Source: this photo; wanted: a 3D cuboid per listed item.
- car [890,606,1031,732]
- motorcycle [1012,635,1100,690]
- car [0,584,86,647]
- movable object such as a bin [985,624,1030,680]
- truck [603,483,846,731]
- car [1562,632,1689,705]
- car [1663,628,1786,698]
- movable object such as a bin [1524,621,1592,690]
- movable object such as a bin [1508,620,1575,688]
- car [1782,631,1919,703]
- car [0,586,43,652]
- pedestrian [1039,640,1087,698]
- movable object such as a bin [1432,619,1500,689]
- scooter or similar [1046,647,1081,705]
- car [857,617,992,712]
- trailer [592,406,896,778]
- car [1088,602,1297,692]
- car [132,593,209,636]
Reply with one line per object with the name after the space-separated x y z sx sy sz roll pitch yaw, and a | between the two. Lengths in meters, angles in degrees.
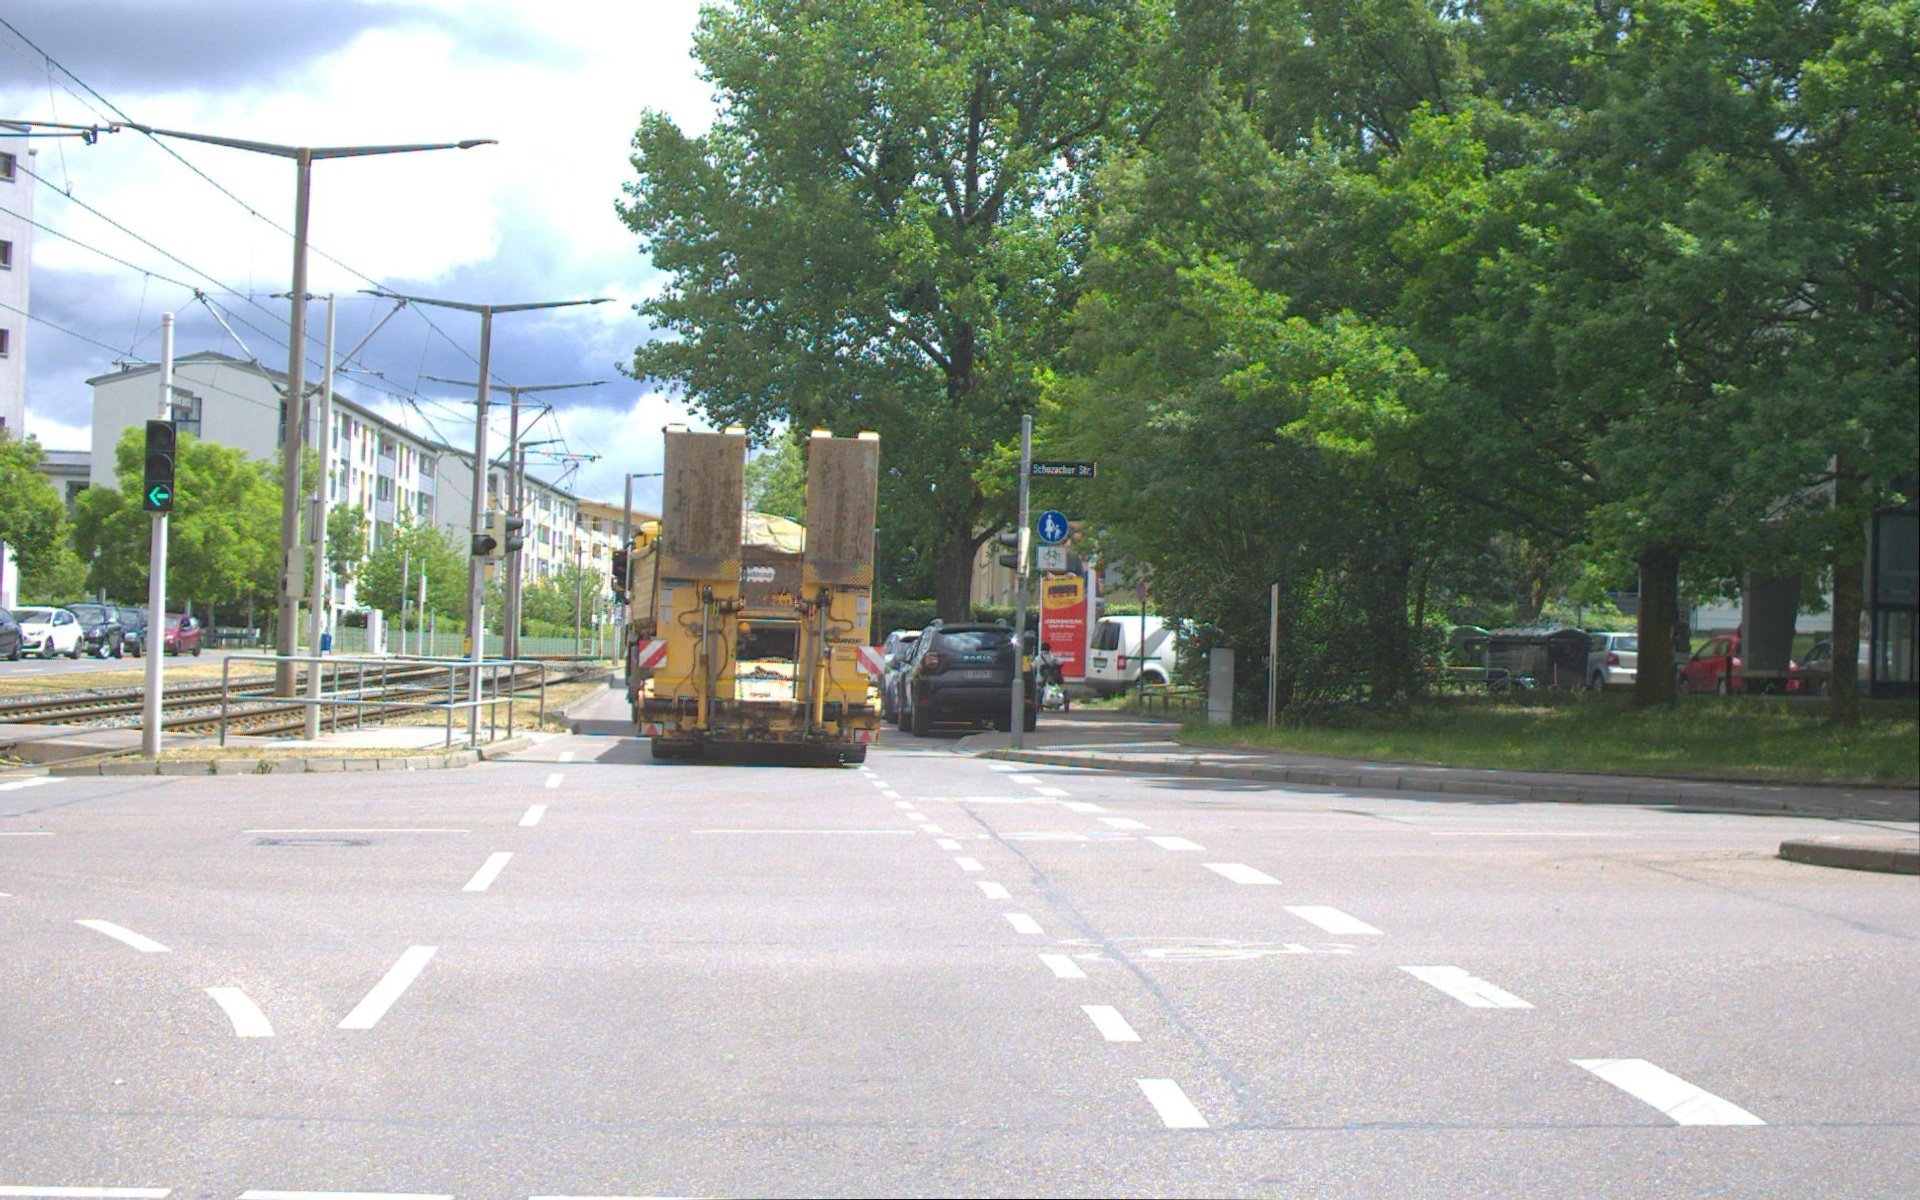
-0.033 0.995 51.340 1.643 1.756 4.570 1 0 -6 | car
2.124 1.382 75.897 1.794 1.206 0.712 1 0 -25 | motorcycle
-26.022 0.427 96.835 1.993 1.657 4.100 3 0 -5 | car
1.246 1.357 90.026 1.098 1.434 0.761 1 0 -5 | movable object such as a bin
-3.589 0.086 50.441 2.833 3.319 7.986 1 0 -9 | truck
14.647 1.482 75.835 1.940 1.485 4.000 1 0 -1 | car
16.918 1.379 76.226 1.743 1.438 4.000 1 0 -1 | car
12.737 1.175 73.236 1.115 1.425 1.286 1 0 -6 | movable object such as a bin
12.613 1.161 74.563 1.115 1.425 1.286 1 0 -6 | movable object such as a bin
19.551 1.449 75.618 1.743 1.465 4.000 1 0 -4 | car
-25.538 0.456 90.419 1.993 1.657 4.100 3 0 -5 | car
1.906 1.278 63.786 0.775 1.051 0.547 1 0 -9 | pedestrian
10.643 1.136 72.305 1.115 1.425 1.286 1 0 -6 | movable object such as a bin
1.913 1.407 63.797 0.476 1.051 0.897 1 0 -9 | scooter or similar
-0.668 1.107 60.568 1.783 1.560 4.571 1 0 -8 | car
-2.559 -0.096 40.975 3.050 3.760 11.613 1 0 -3 | trailer
4.872 0.985 72.061 3.986 1.816 1.811 1 0 -26 | car
-26.676 0.479 116.186 1.613 1.421 3.422 1 0 4 | car
